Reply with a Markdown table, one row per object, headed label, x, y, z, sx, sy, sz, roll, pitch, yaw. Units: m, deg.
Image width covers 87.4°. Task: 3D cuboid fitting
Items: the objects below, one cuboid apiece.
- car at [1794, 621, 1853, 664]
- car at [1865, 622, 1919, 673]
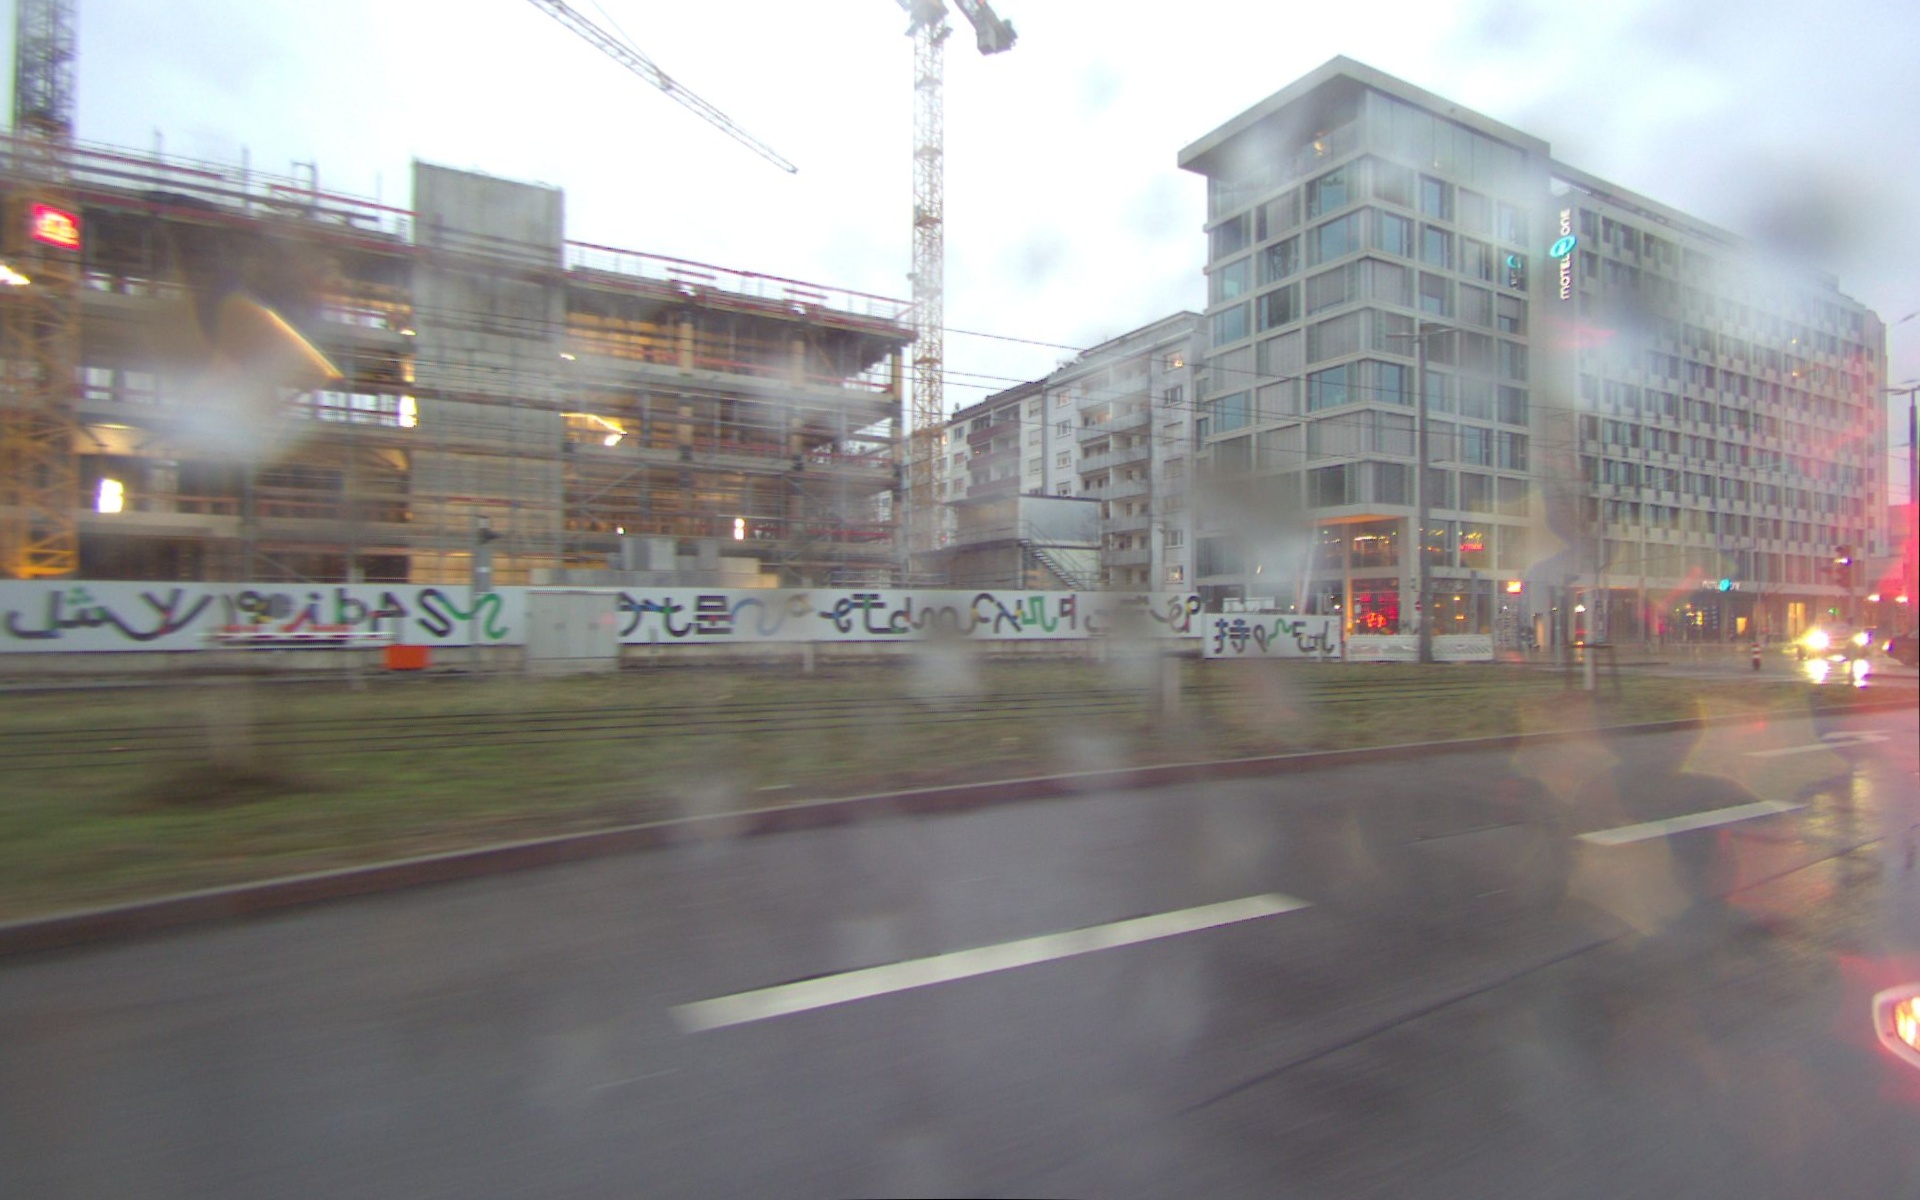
| label | x | y | z | sx | sy | sz | roll | pitch | yaw |
| --- | --- | --- | --- | --- | --- | --- | --- | --- | --- |
| car | 37.785 | 1.853 | 43.939 | 1.874 | 1.743 | 4.687 | 1 | -1 | 42 |
| car | 34.460 | 1.685 | 34.522 | 1.839 | 1.743 | 4.693 | 2 | -1 | -18 |
